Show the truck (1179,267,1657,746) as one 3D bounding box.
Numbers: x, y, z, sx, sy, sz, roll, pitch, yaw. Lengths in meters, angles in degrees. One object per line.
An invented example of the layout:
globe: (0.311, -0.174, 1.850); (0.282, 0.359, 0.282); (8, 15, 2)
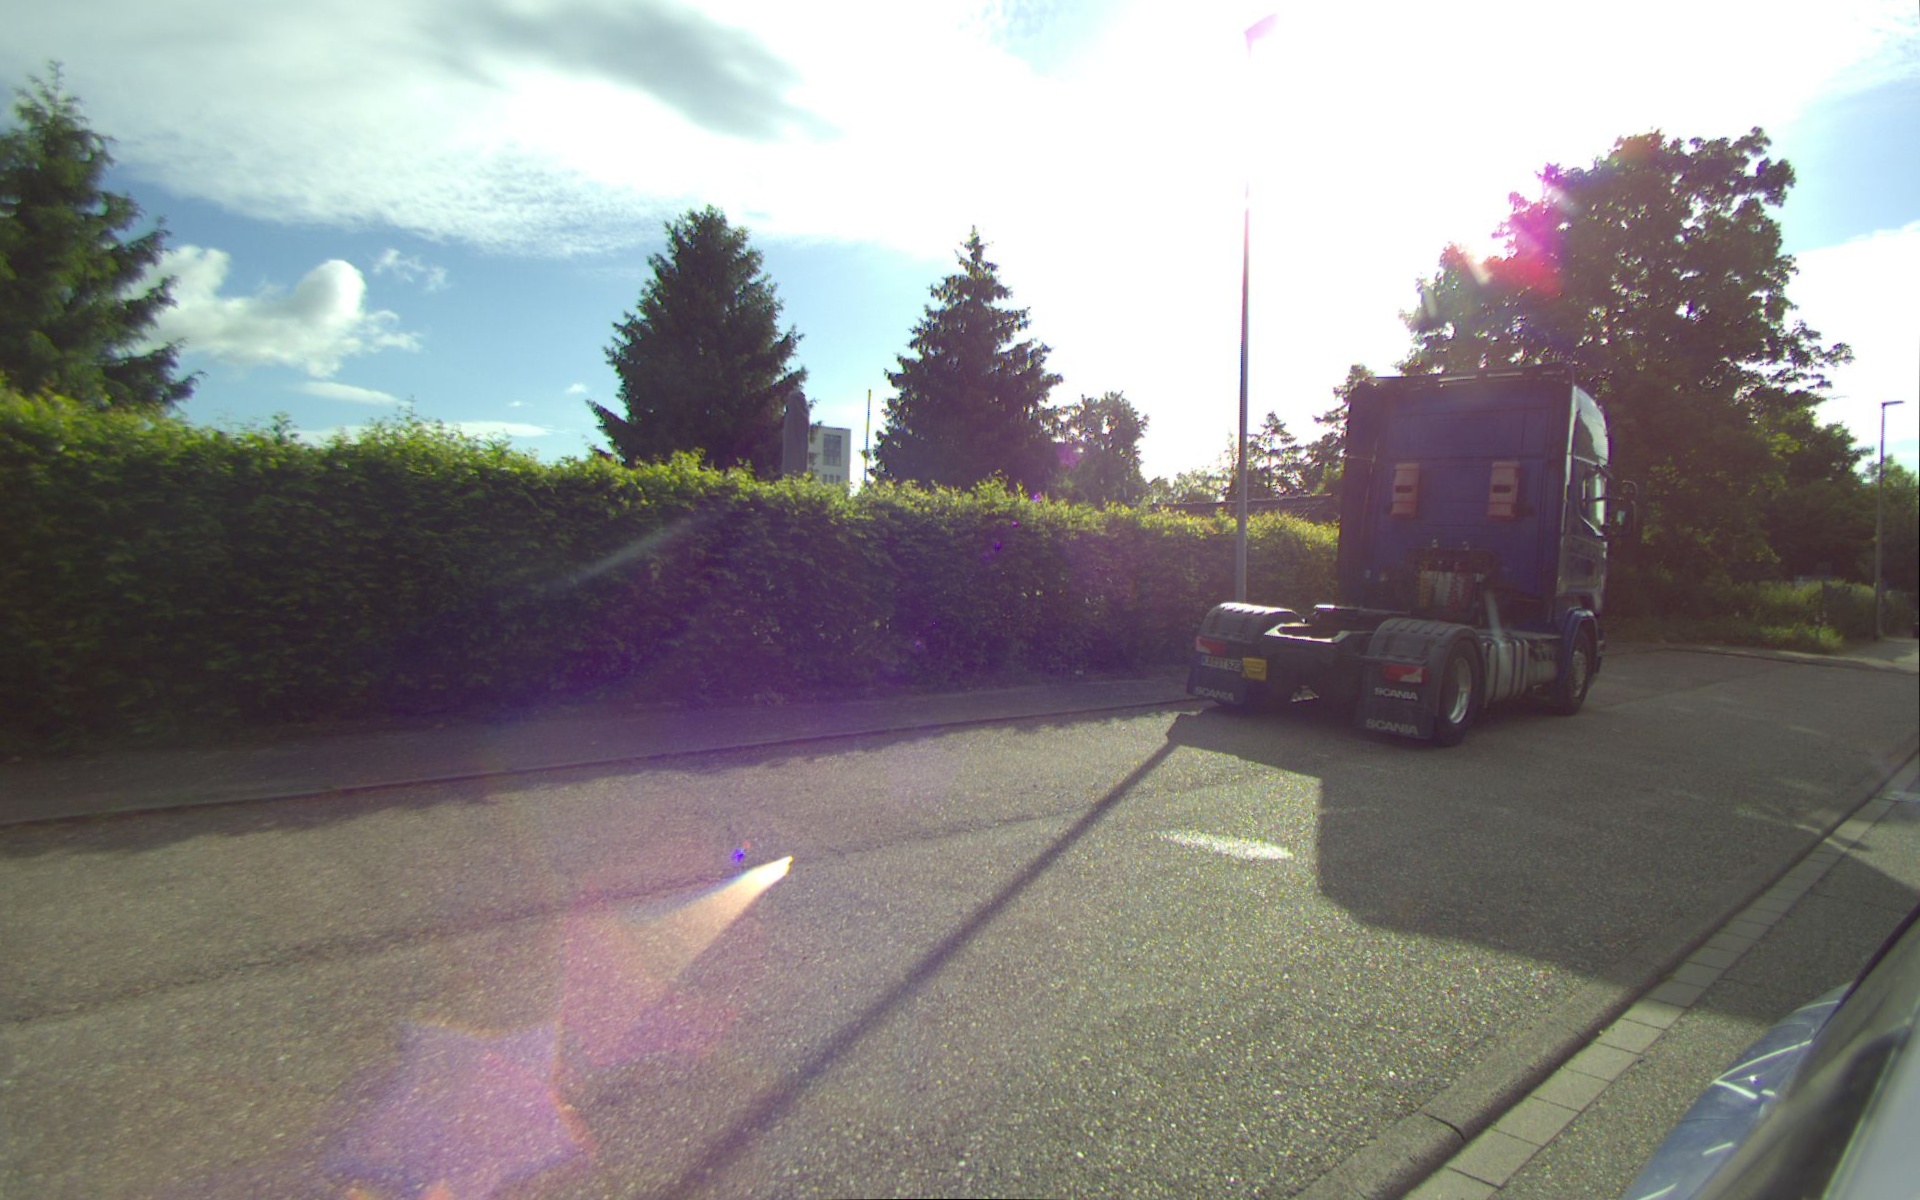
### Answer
truck: (5.487, -0.865, 11.564); (6.178, 4.006, 2.600); (0, 4, -43)
